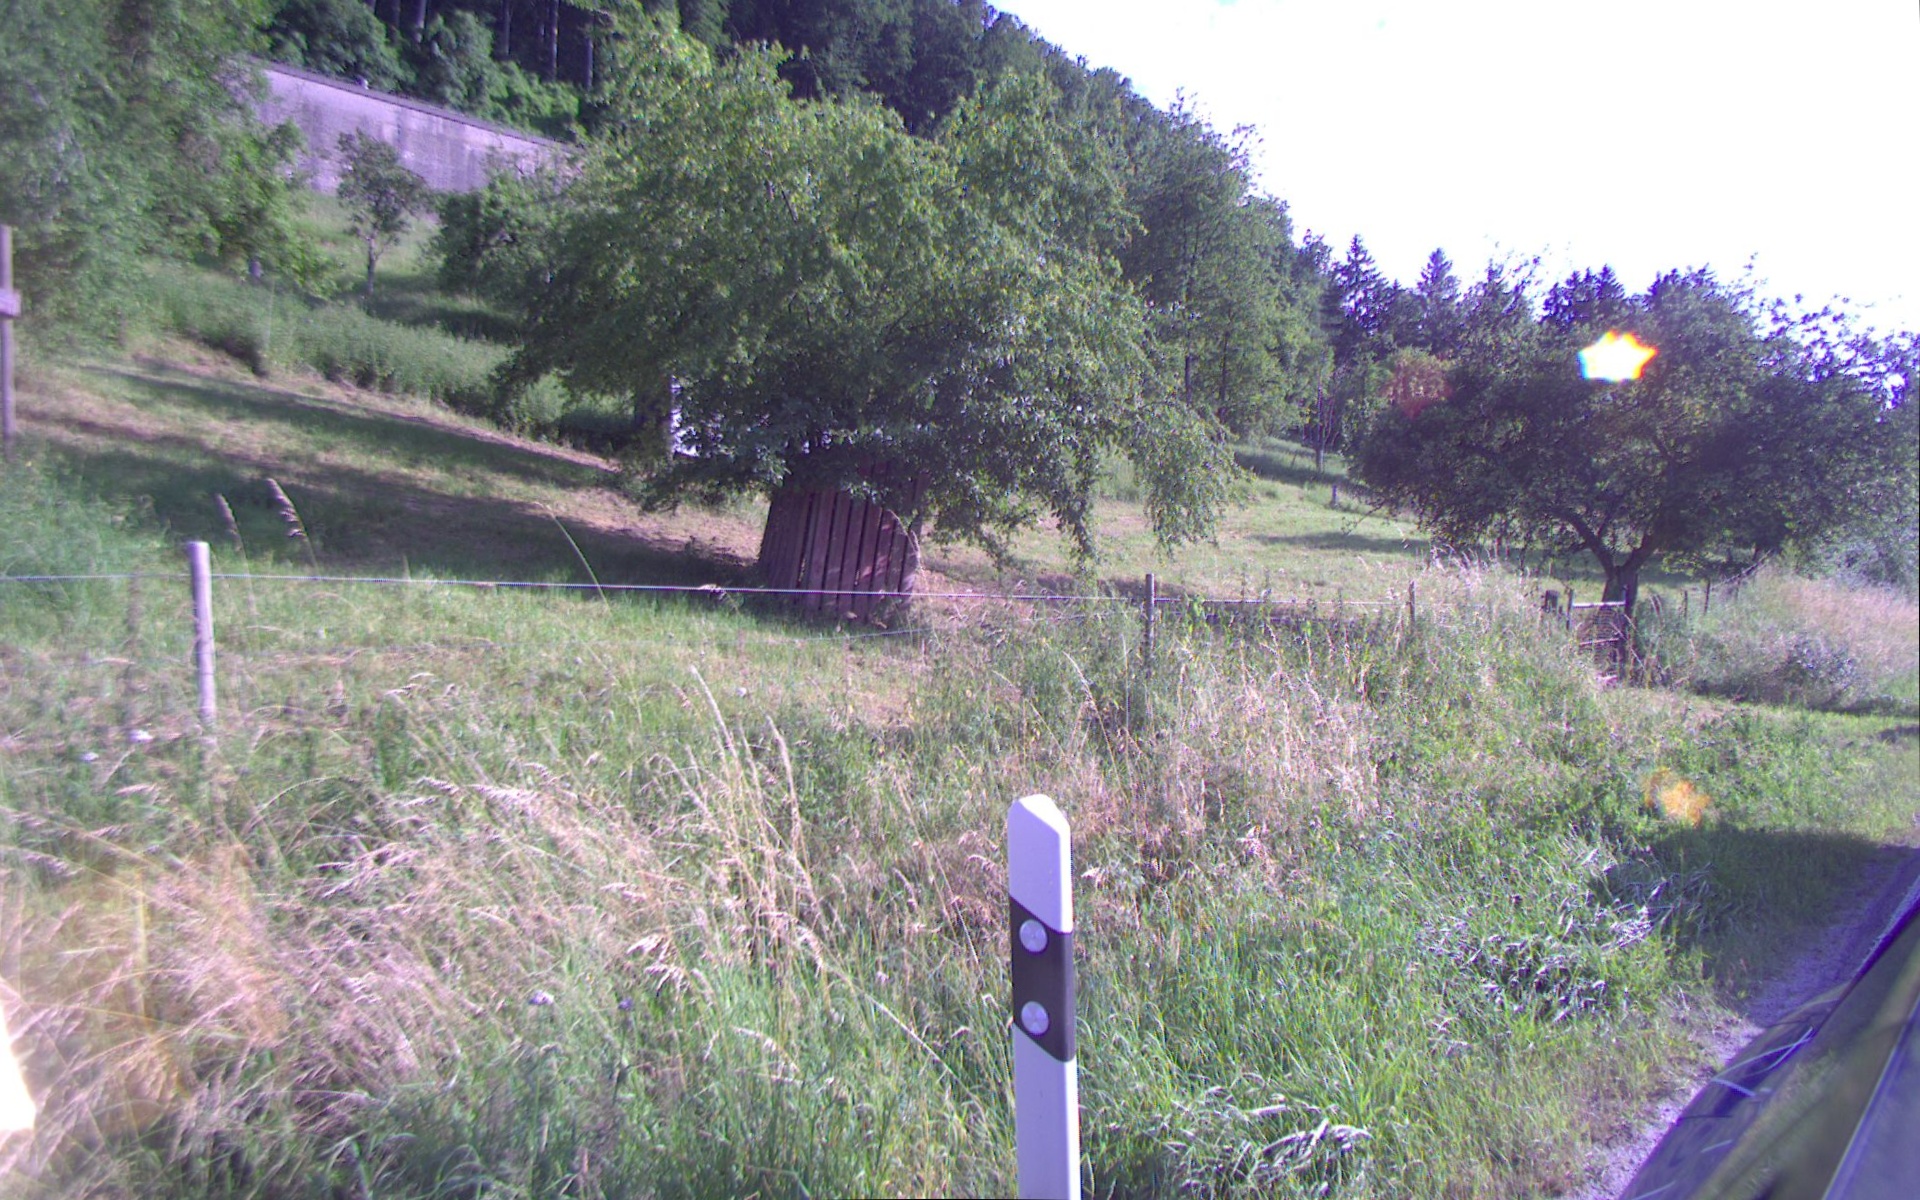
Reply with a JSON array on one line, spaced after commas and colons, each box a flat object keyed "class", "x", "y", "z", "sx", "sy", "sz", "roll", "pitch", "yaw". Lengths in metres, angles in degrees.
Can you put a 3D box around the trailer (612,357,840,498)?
[{"class": "trailer", "x": -5.840, "y": -4.201, "z": 25.765, "sx": 5.159, "sy": 2.590, "sz": 2.154, "roll": 4, "pitch": 0, "yaw": -45}]
